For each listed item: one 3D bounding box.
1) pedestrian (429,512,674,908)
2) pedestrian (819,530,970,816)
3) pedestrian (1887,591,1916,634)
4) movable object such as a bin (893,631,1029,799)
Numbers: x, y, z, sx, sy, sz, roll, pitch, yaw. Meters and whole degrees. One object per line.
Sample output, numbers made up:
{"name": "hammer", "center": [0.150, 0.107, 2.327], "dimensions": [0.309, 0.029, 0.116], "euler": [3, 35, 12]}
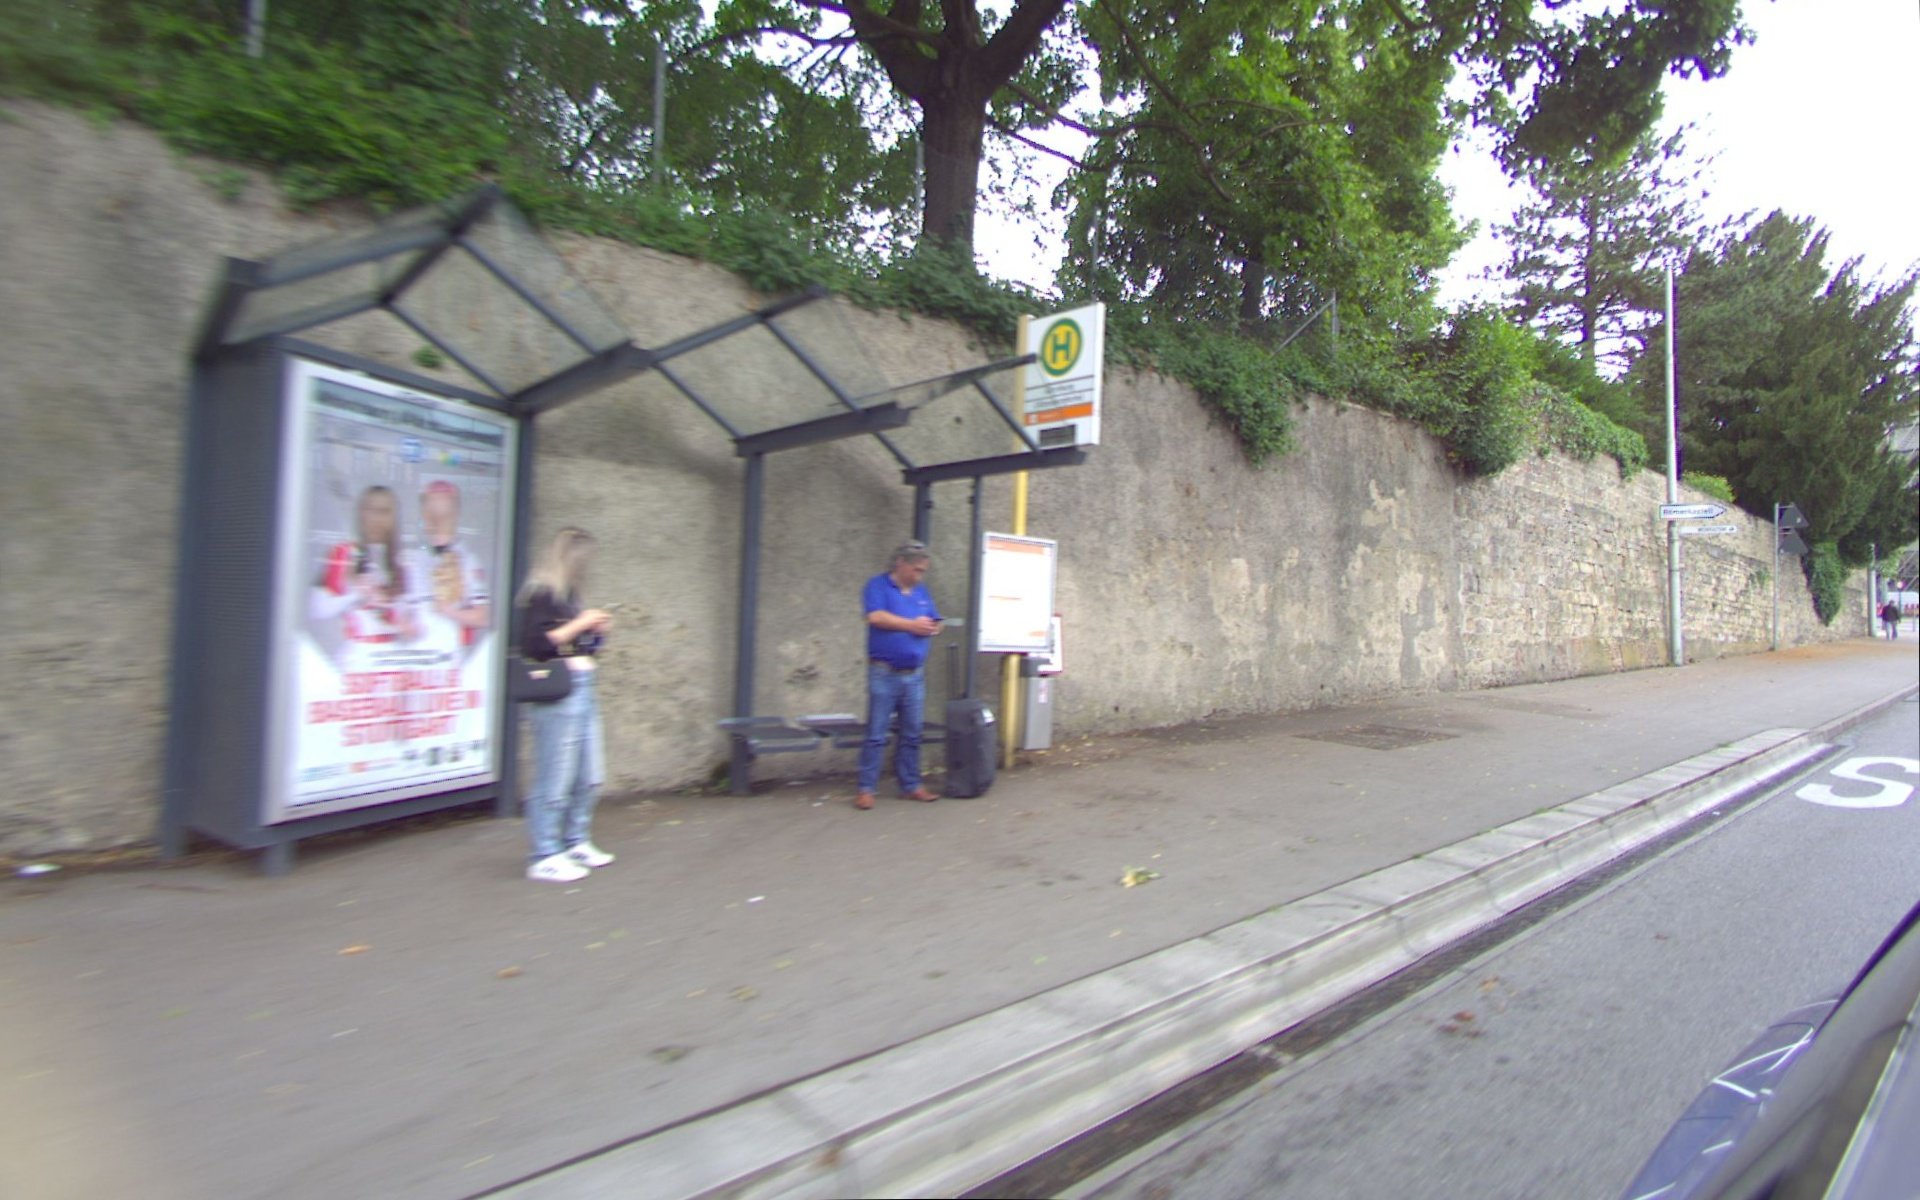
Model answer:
{"name": "pedestrian", "center": [-1.794, 0.448, 4.549], "dimensions": [0.759, 1.607, 0.737], "euler": [2, 0, 0]}
{"name": "pedestrian", "center": [-0.415, 0.420, 6.361], "dimensions": [0.721, 1.663, 0.621], "euler": [1, 0, 45]}
{"name": "pedestrian", "center": [36.118, 0.464, 38.816], "dimensions": [0.731, 1.596, 0.732], "euler": [1, 1, -44]}
{"name": "movable object such as a bin", "center": [0.009, 0.741, 6.849], "dimensions": [0.674, 1.033, 0.617], "euler": [1, -1, 44]}
